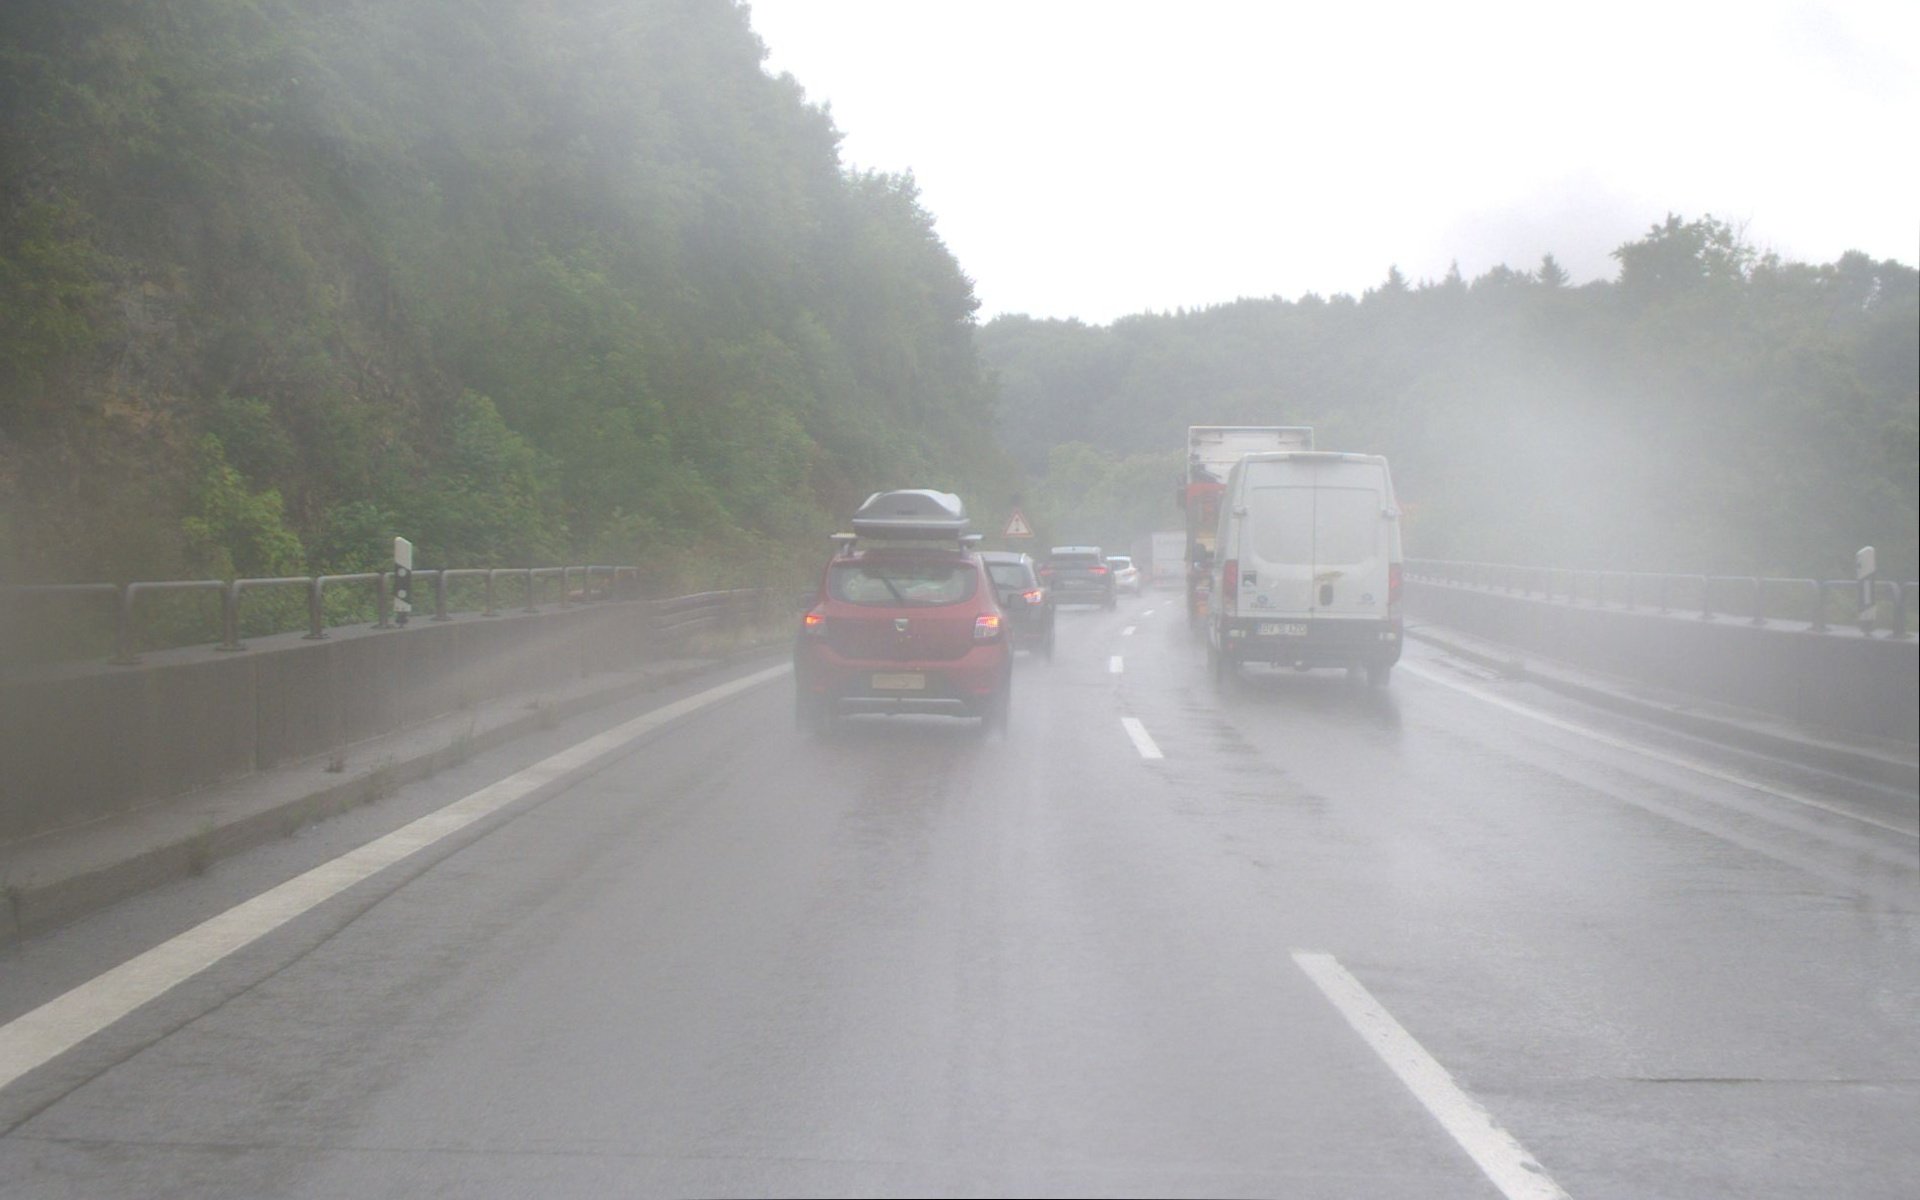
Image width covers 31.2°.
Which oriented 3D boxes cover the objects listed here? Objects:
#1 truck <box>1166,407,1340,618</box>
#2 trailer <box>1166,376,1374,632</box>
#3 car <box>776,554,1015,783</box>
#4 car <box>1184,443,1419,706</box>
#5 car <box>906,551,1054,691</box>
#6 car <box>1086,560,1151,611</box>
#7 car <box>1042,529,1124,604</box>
[{"bbox_3d":[5.743,-1.694,68.001,3.220,3.964,5.438,-1,1,4],"label":"truck"},{"bbox_3d":[5.332,-1.610,61.210,3.219,3.985,13.522,-1,1,4],"label":"trailer"},{"bbox_3d":[-0.491,0.513,28.635,1.758,1.679,4.000,-3,0,0],"label":"car"},{"bbox_3d":[3.858,-0.321,40.133,2.206,2.784,7.382,0,1,2],"label":"car"},{"bbox_3d":[0.283,0.258,46.469,1.833,1.709,3.645,-3,0,1],"label":"car"},{"bbox_3d":[5.450,-0.512,117.816,1.994,1.634,3.999,-3,0,5],"label":"car"},{"bbox_3d":[3.085,-0.835,85.333,1.875,1.700,3.888,-3,0,3],"label":"car"}]
